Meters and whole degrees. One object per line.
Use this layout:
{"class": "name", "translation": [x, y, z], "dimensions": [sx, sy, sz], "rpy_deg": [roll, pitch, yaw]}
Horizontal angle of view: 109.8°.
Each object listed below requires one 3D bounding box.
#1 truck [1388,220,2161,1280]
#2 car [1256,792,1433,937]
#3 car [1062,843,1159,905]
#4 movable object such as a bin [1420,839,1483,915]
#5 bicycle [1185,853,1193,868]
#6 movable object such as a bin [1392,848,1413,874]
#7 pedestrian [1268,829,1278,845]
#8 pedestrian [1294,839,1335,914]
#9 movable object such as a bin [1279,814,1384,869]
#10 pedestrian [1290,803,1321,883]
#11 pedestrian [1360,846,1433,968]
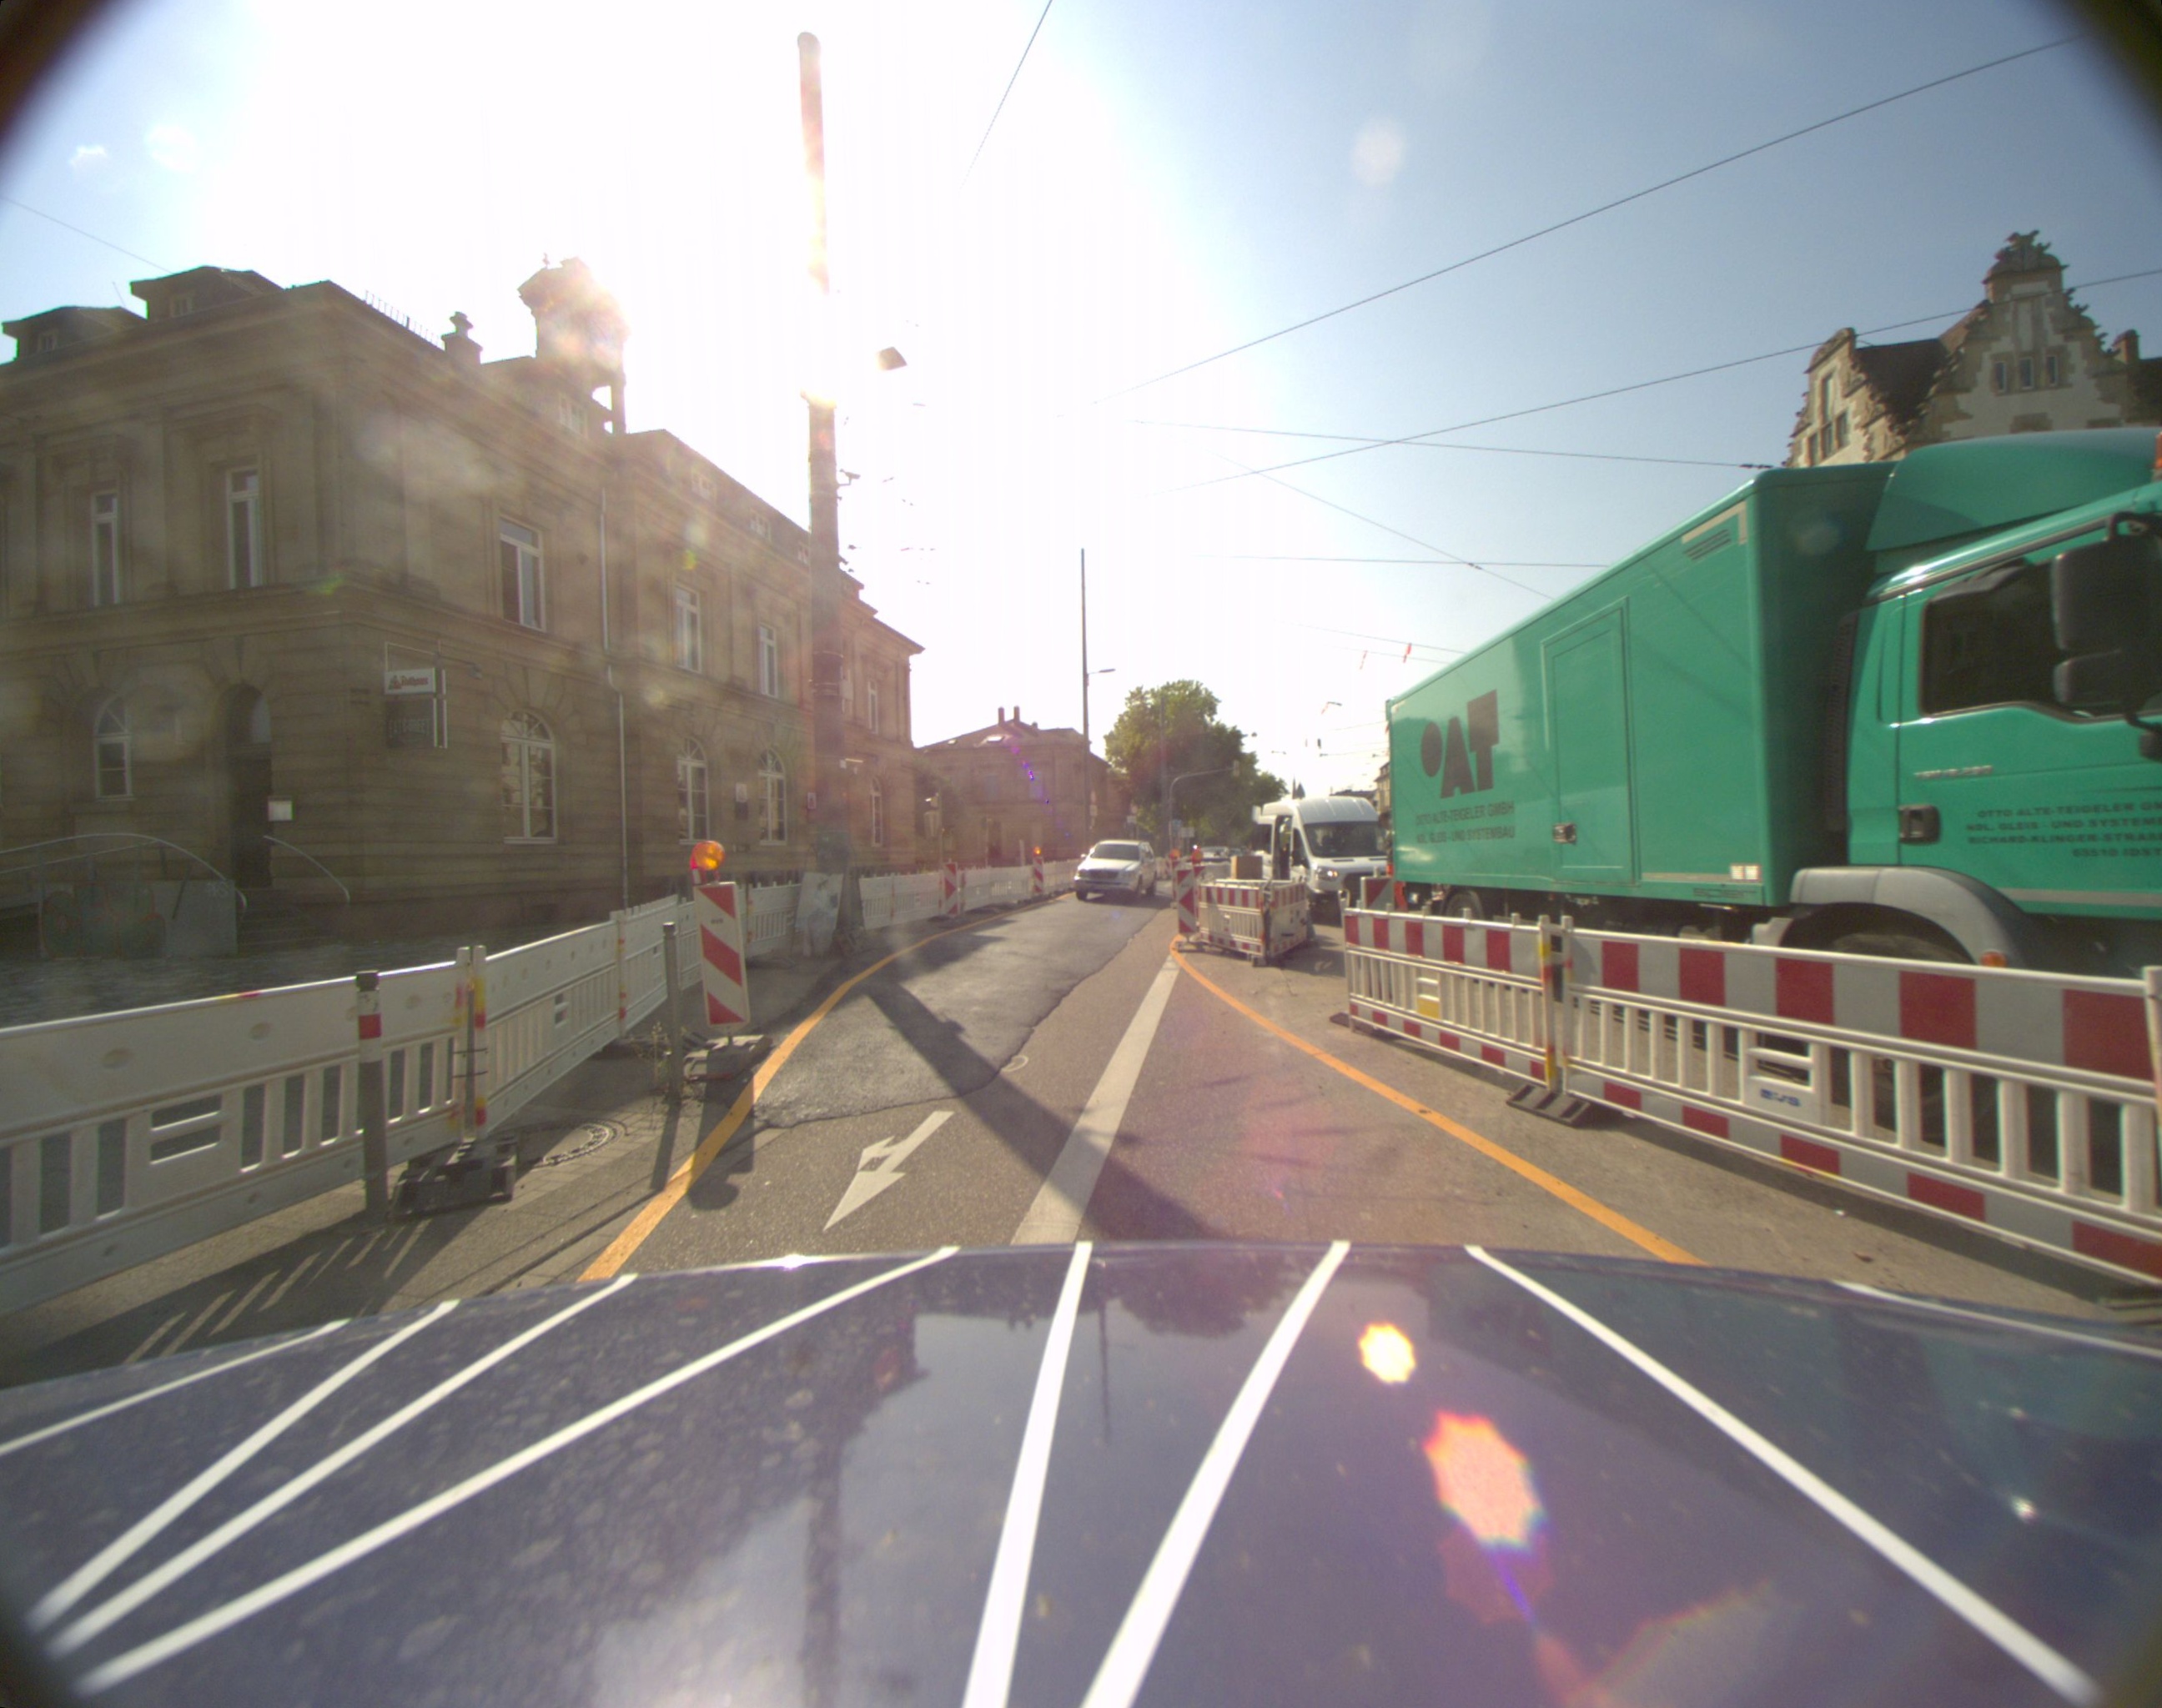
{"class": "truck", "translation": [5.336, -0.394, 6.367], "dimensions": [2.680, 3.657, 8.215], "rpy_deg": [-1, 0, 4]}
{"class": "car", "translation": [5.607, 0.167, 17.025], "dimensions": [2.230, 2.713, 5.170], "rpy_deg": [-1, 1, 1]}
{"class": "car", "translation": [1.049, 0.513, 23.351], "dimensions": [1.996, 1.686, 5.230], "rpy_deg": [0, 1, 13]}
{"class": "movable object such as a bin", "translation": [5.659, 0.323, 11.672], "dimensions": [0.644, 1.086, 1.483], "rpy_deg": [-1, 1, 17]}
{"class": "bicycle", "translation": [7.716, 0.463, 54.166], "dimensions": [0.411, 0.981, 1.377], "rpy_deg": [-1, 1, 15]}
{"class": "movable object such as a bin", "translation": [14.904, 0.302, 35.303], "dimensions": [0.751, 1.163, 2.294], "rpy_deg": [-1, 1, 20]}
{"class": "pedestrian", "translation": [25.588, -2.249, 101.195], "dimensions": [0.909, 2.002, 0.913], "rpy_deg": [-2, 2, 39]}
{"class": "pedestrian", "translation": [6.428, 0.599, 20.877], "dimensions": [0.734, 2.002, 0.909], "rpy_deg": [1, 2, 45]}
{"class": "movable object such as a bin", "translation": [16.402, -0.832, 49.857], "dimensions": [6.162, 3.327, 2.115], "rpy_deg": [-2, 1, -7]}
{"class": "pedestrian", "translation": [5.778, -0.272, 19.534], "dimensions": [0.735, 2.002, 0.908], "rpy_deg": [0, 1, 18]}
{"class": "pedestrian", "translation": [4.588, 0.730, 11.057], "dimensions": [0.767, 1.684, 0.705], "rpy_deg": [-2, 2, -41]}
